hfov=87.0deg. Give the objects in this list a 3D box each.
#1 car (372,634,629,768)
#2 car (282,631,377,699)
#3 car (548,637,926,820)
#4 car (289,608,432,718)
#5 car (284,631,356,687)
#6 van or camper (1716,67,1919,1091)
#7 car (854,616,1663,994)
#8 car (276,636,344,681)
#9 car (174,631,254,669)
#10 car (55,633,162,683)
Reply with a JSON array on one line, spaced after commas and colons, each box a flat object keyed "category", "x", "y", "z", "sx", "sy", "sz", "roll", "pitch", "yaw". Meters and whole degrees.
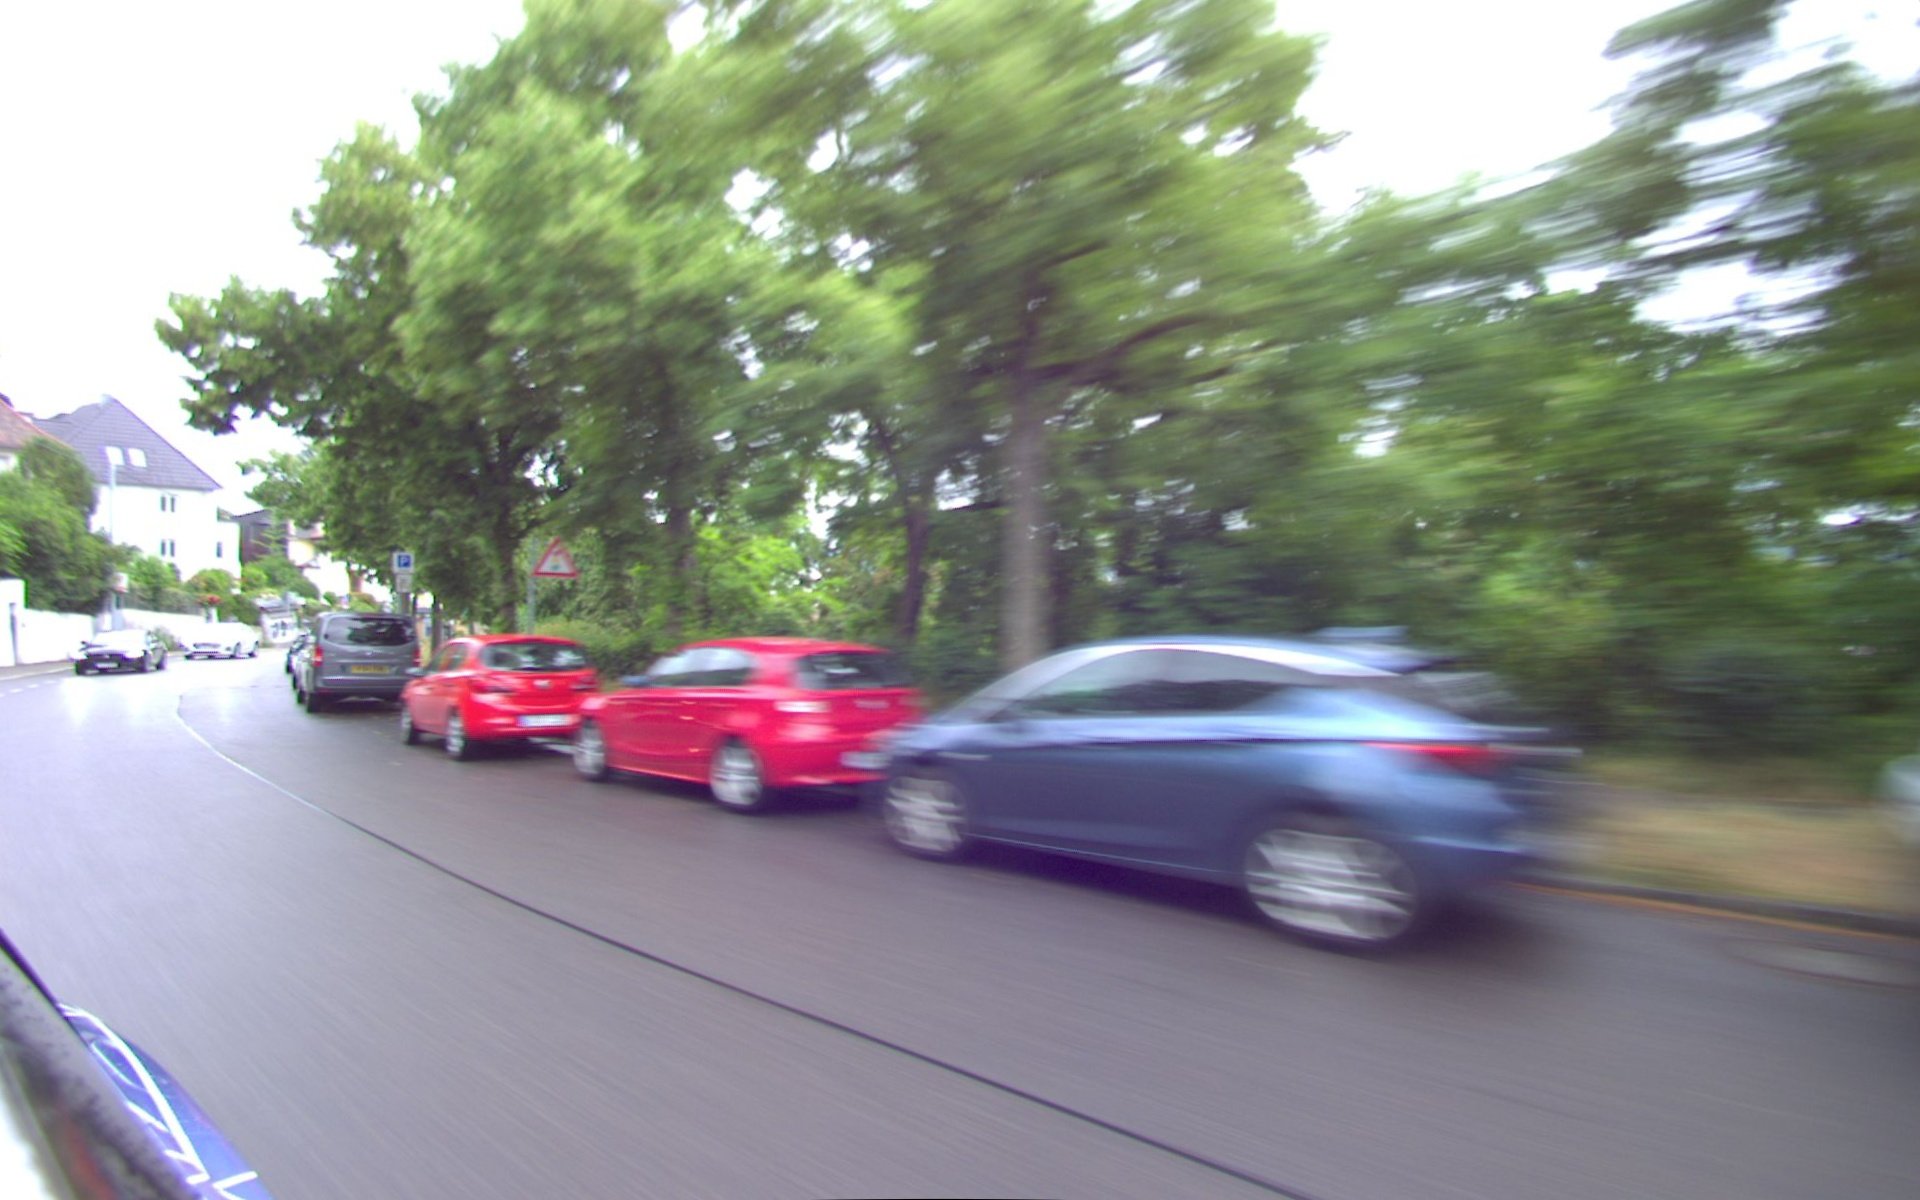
[{"category": "car", "x": -6.282, "y": 1.240, "z": 13.533, "sx": 1.930, "sy": 1.472, "sz": 4.582, "roll": 3, "pitch": -4, "yaw": -40}, {"category": "car", "x": -16.012, "y": 1.653, "z": 25.626, "sx": 1.661, "sy": 1.564, "sz": 3.775, "roll": 5, "pitch": -6, "yaw": -36}, {"category": "car", "x": -2.258, "y": 1.108, "z": 9.828, "sx": 3.545, "sy": 1.419, "sz": 1.932, "roll": -3, "pitch": -5, "yaw": 44}, {"category": "car", "x": -12.415, "y": 1.301, "z": 20.789, "sx": 1.928, "sy": 1.983, "sz": 5.013, "roll": 5, "pitch": -5, "yaw": -36}, {"category": "car", "x": -19.466, "y": 1.751, "z": 30.866, "sx": 1.660, "sy": 1.521, "sz": 4.218, "roll": 4, "pitch": -3, "yaw": -31}, {"category": "van or camper", "x": 5.872, "y": -0.092, "z": 2.304, "sx": 6.549, "sy": 3.050, "sz": 2.482, "roll": -1, "pitch": -3, "yaw": 37}, {"category": "car", "x": 1.447, "y": 0.890, "z": 6.033, "sx": 1.931, "sy": 1.419, "sz": 4.210, "roll": 4, "pitch": -5, "yaw": -44}, {"category": "car", "x": -22.755, "y": 2.011, "z": 35.555, "sx": 1.660, "sy": 1.391, "sz": 4.515, "roll": 4, "pitch": -3, "yaw": -29}, {"category": "car", "x": -34.105, "y": 2.242, "z": 46.376, "sx": 1.997, "sy": 1.641, "sz": 4.242, "roll": 0, "pitch": -1, "yaw": -23}, {"category": "car", "x": -27.560, "y": 1.822, "z": 32.897, "sx": 1.997, "sy": 1.474, "sz": 4.012, "roll": 0, "pitch": -2, "yaw": -30}]
